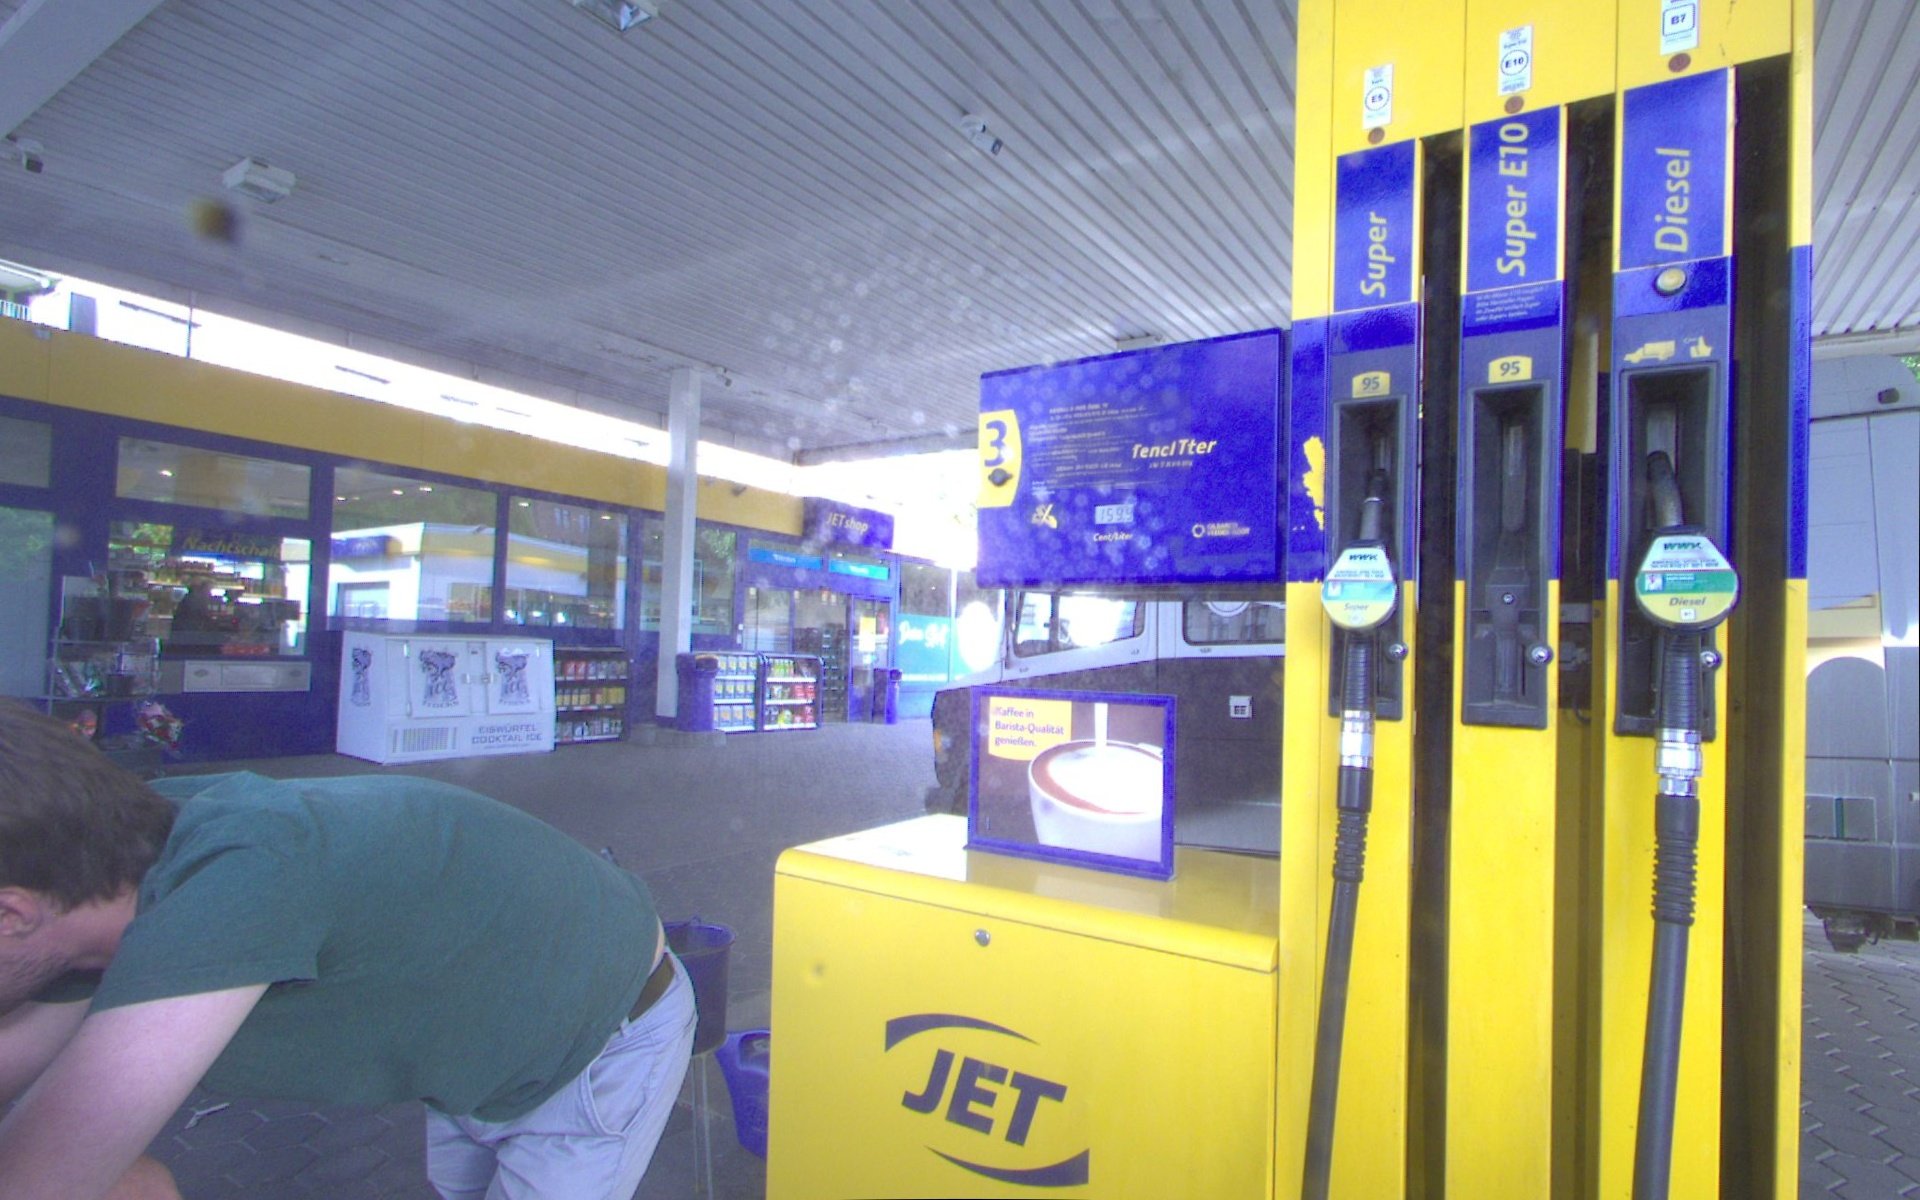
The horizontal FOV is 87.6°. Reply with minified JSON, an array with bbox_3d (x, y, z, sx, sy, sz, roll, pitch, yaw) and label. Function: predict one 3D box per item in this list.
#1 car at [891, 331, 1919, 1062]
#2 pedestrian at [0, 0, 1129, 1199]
[{"bbox_3d":[2.347,0.443,5.999,5.271,2.759,2.193,-1,-3,34],"label":"car"},{"bbox_3d":[-0.525,0.584,1.082,0.981,1.750,1.175,-2,-2,36],"label":"pedestrian"}]
